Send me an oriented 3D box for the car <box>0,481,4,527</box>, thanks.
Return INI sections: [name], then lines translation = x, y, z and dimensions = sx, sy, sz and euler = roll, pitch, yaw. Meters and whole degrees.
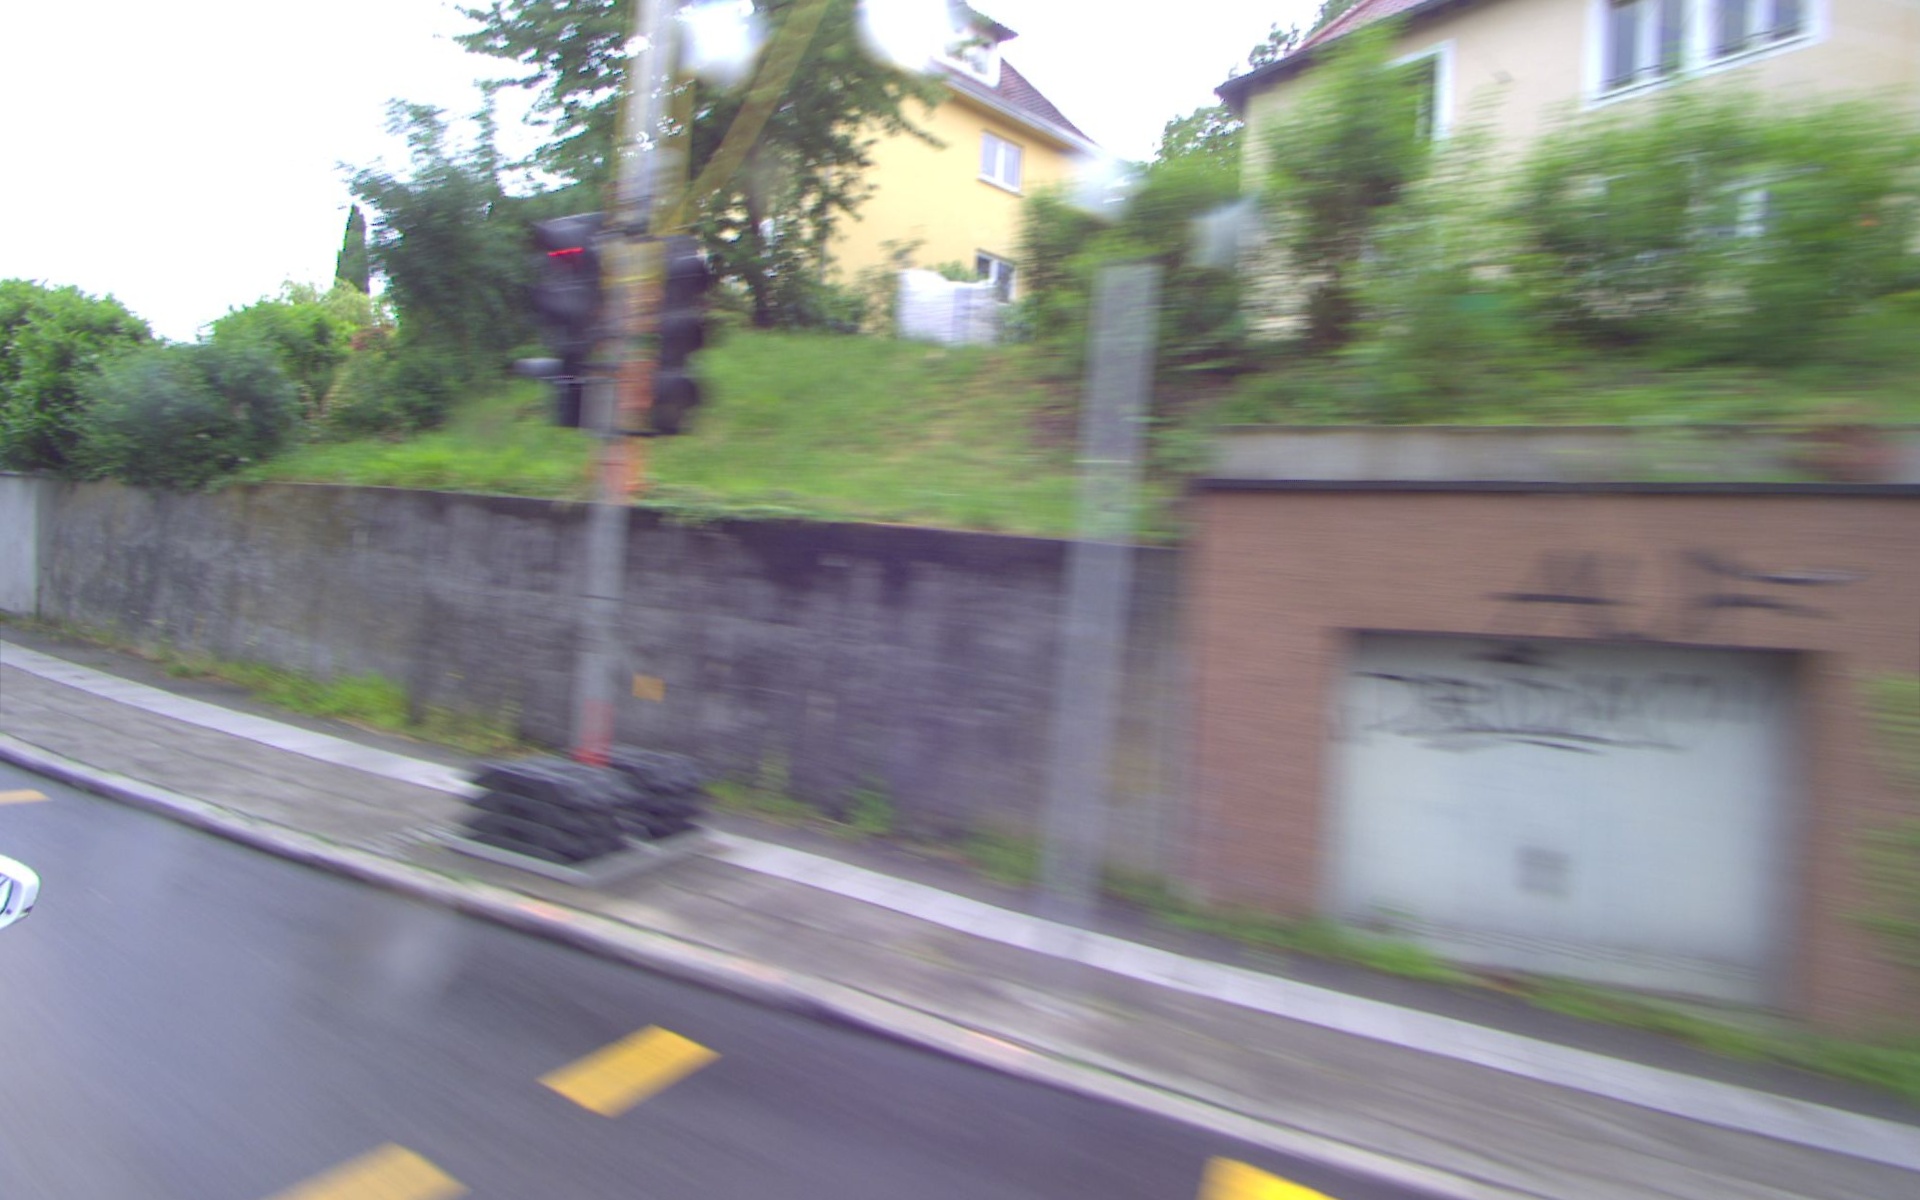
[car]
translation = -37.550, -3.651, 37.412
dimensions = 1.718, 1.793, 4.202
euler = 5, 3, -27
